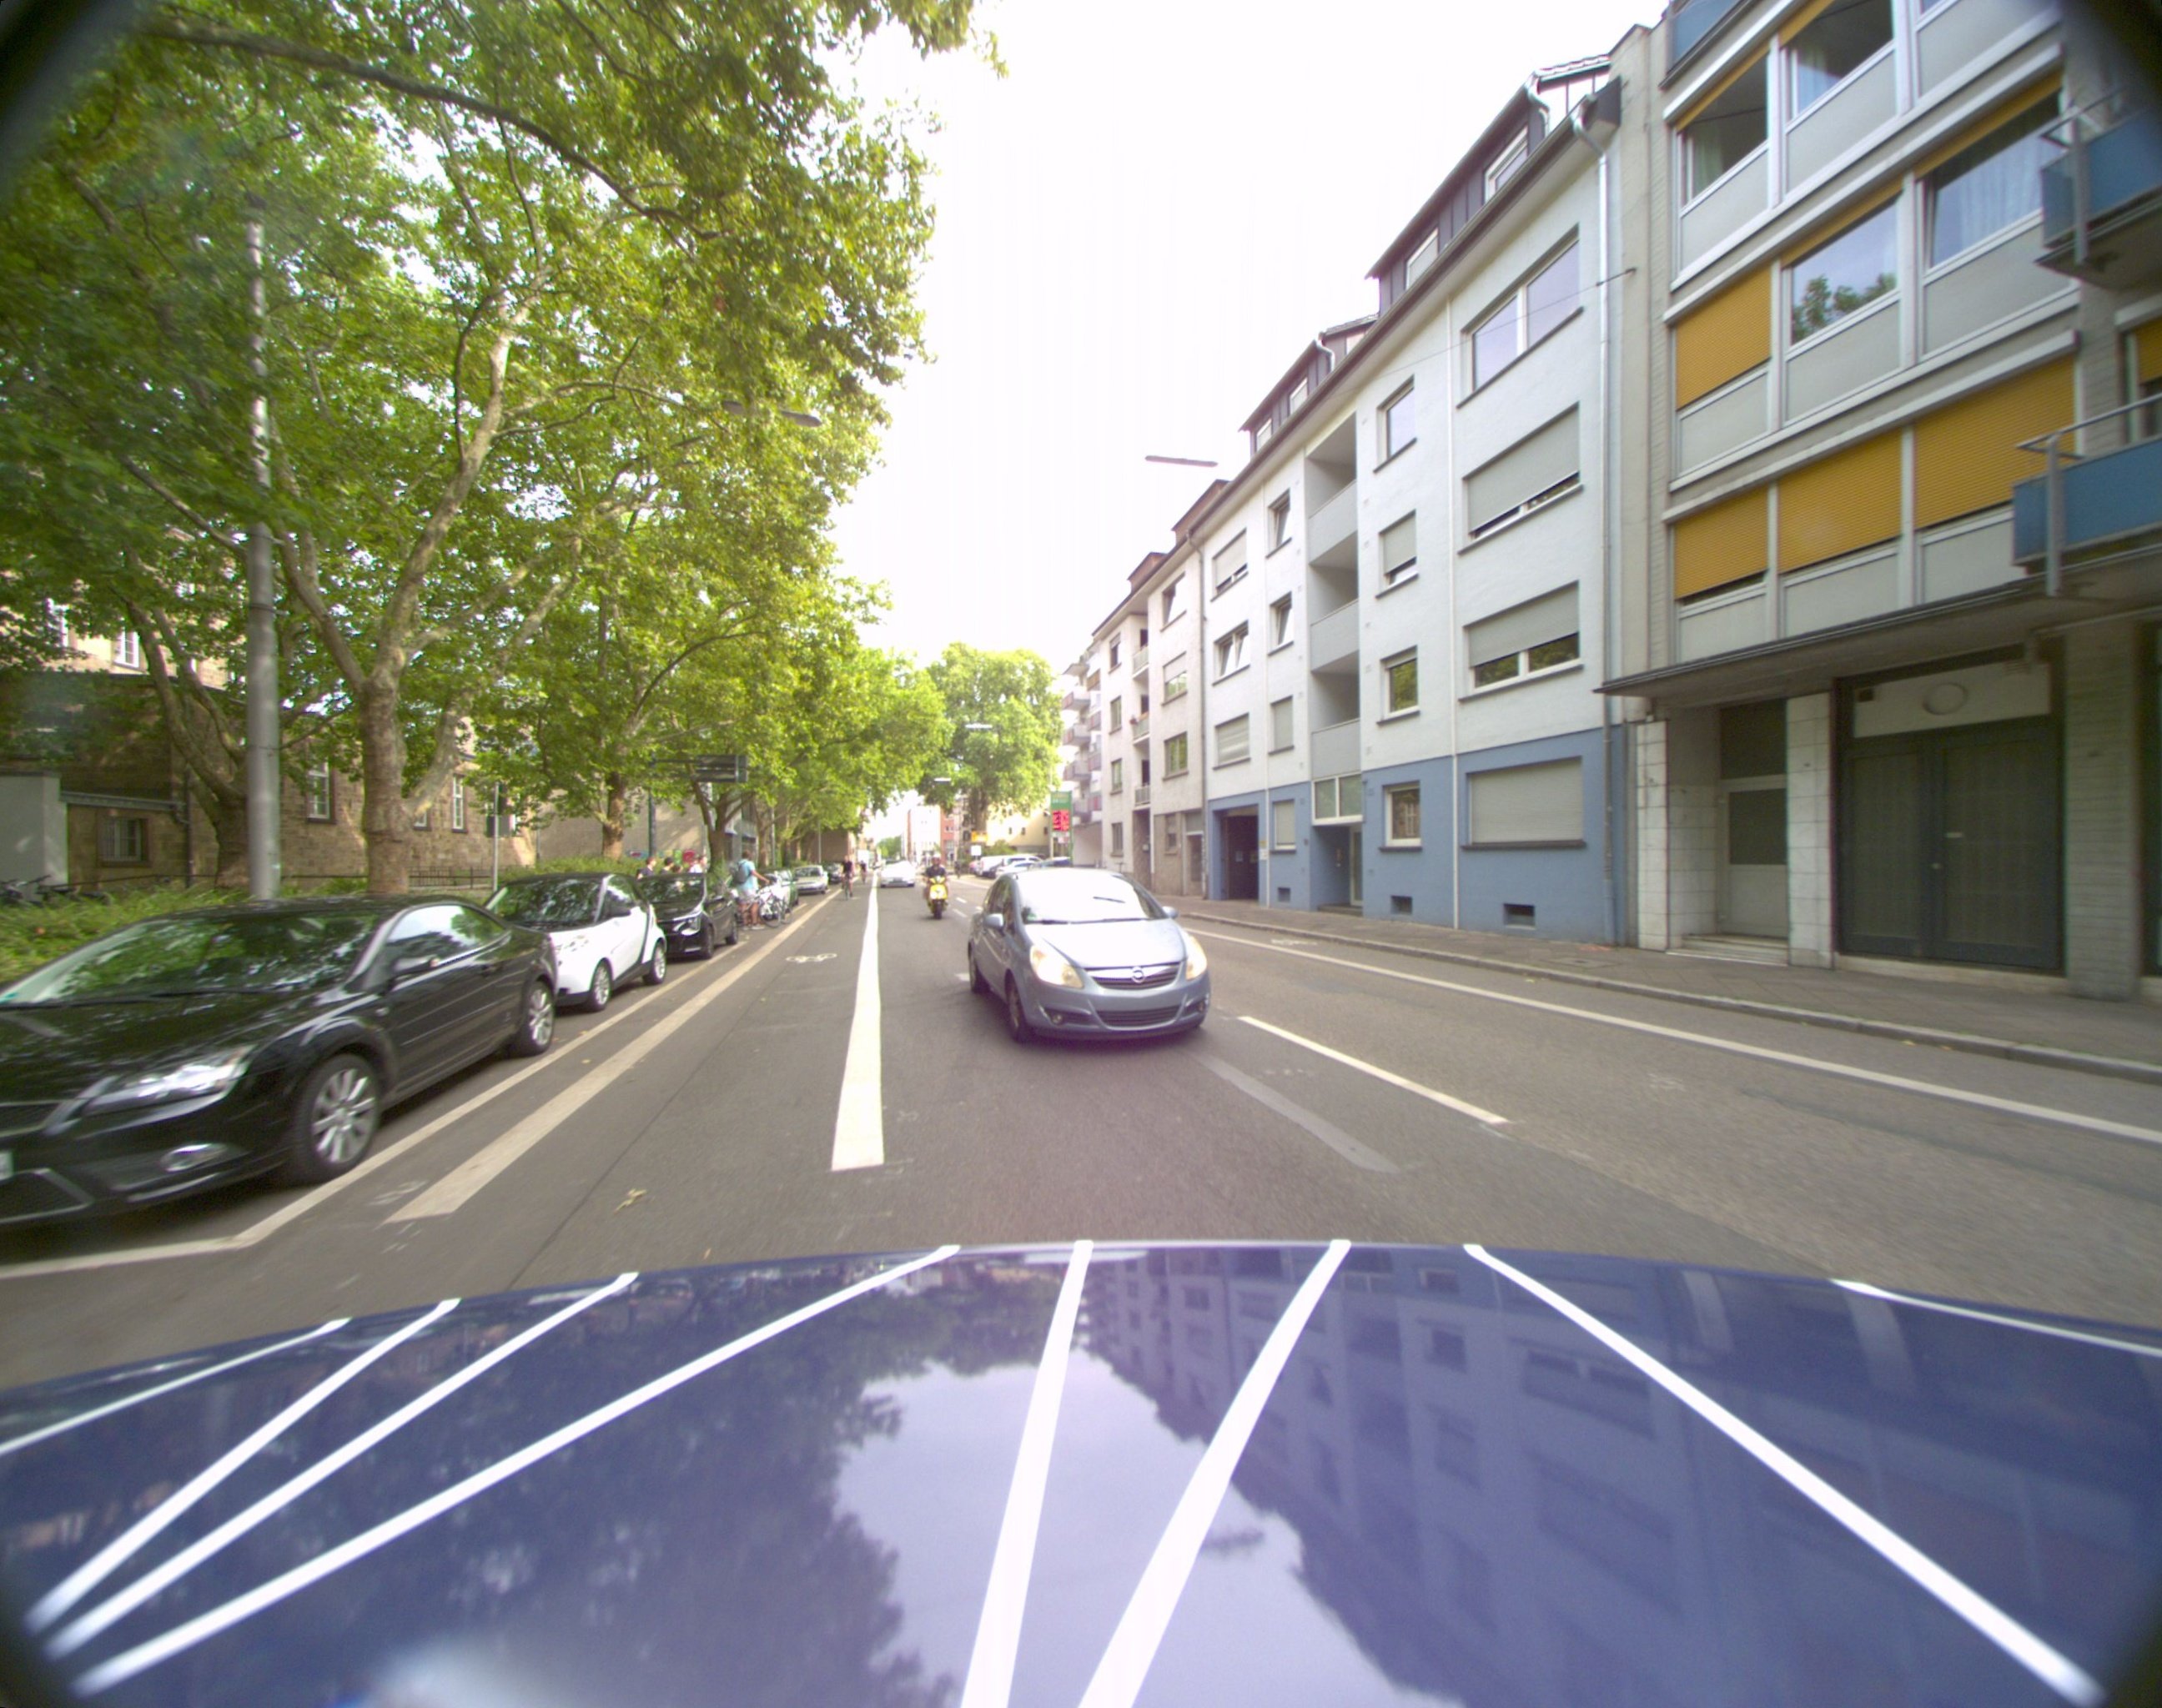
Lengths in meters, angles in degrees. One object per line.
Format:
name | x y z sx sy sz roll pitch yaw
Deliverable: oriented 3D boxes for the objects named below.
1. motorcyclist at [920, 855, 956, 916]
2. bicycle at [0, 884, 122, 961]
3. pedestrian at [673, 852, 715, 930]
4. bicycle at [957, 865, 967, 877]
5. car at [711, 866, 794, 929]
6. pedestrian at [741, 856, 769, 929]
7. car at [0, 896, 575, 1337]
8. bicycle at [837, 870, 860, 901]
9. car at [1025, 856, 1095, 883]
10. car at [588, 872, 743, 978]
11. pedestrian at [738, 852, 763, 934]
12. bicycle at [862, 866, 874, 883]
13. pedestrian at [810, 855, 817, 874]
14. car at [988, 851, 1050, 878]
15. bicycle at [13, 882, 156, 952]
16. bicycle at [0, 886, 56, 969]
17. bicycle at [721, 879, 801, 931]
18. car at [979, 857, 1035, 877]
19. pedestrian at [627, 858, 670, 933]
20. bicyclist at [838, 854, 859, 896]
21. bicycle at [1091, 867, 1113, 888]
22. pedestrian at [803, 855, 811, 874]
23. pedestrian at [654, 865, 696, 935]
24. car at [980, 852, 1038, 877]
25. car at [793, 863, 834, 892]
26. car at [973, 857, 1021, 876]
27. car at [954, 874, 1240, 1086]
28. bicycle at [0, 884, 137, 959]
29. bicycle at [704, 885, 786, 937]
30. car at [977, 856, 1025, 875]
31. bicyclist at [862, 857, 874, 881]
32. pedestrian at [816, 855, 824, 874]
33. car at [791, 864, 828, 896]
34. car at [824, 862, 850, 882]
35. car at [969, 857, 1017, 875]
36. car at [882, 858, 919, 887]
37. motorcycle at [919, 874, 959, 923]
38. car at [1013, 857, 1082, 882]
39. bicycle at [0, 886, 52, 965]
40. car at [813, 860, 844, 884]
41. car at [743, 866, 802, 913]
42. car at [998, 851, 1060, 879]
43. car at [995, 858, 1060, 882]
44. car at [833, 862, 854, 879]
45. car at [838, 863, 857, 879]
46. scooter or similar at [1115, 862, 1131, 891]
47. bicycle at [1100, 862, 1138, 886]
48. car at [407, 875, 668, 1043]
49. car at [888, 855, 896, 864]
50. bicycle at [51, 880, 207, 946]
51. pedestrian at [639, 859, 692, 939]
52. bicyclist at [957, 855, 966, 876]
motorcyclist | -3.939 0.848 20.859 0.906 1.608 0.690 -1 0 -14
bicycle | -15.710 1.030 11.526 1.384 1.111 0.468 0 0 -22
pedestrian | -10.264 0.962 20.168 0.796 1.986 0.749 -2 1 -15
bicycle | -10.575 1.507 67.399 0.648 1.008 2.074 -2 1 -15
car | -9.588 1.189 22.482 1.687 1.507 4.537 -3 1 -17
pedestrian | -8.492 0.979 19.765 0.522 1.834 0.743 -2 1 -30
car | -5.007 1.130 4.864 1.704 1.417 4.415 -2 0 -17
bicycle | -9.586 1.286 31.399 0.764 1.162 1.947 -2 0 -14
car | -1.381 0.983 49.606 4.166 1.504 1.835 -3 1 -14
car | -7.245 1.130 13.625 1.534 1.493 3.655 -2 0 -15
pedestrian | -8.077 0.935 18.559 0.477 1.923 0.743 -2 1 -26
bicycle | -14.779 1.406 52.762 0.764 1.162 1.947 -2 0 -14
pedestrian | -26.020 1.041 73.916 0.503 1.775 0.527 3 0 -16
car | -5.207 0.876 63.179 4.784 1.923 1.991 -3 1 -14
bicycle | -16.775 1.042 12.820 1.451 1.111 0.468 0 0 -18
bicycle | -15.496 1.018 10.356 1.703 1.111 0.621 0 0 -34
bicycle | -8.224 1.287 19.575 1.798 1.210 0.552 -2 1 -32
car | -6.633 1.132 67.868 4.722 1.461 1.872 -3 1 -14
pedestrian | -11.026 1.048 19.393 0.723 1.844 0.702 -2 1 -15
bicyclist | -9.635 0.861 31.506 0.765 1.699 0.916 -2 1 -15
bicycle | 0.989 1.120 36.174 0.599 0.945 1.660 -2 0 -15
pedestrian | -26.592 1.023 73.785 0.644 1.822 0.645 3 0 -16
pedestrian | -9.958 1.110 18.680 0.723 1.648 0.654 -2 1 -15
car | -6.220 0.888 65.459 4.633 1.848 1.947 -3 1 -14
car | -15.119 1.308 43.188 1.761 1.439 4.213 -3 0 -14
car | -8.215 1.195 74.290 4.377 1.540 1.730 -3 1 -14
car | -0.173 0.968 7.763 1.719 1.412 4.247 -1 0 -16
bicycle | -16.047 1.034 11.895 1.546 1.111 0.468 0 0 -22
bicycle | -8.069 1.351 18.283 1.742 1.099 0.551 -2 1 -26
car | -7.607 1.090 72.096 4.281 1.502 1.717 -3 1 -14
bicyclist | -14.781 1.045 52.768 0.749 1.590 0.818 -2 1 -14
pedestrian | -25.342 1.026 73.743 0.593 1.775 0.475 3 0 -16
car | -13.843 1.295 38.830 1.649 1.439 3.876 -3 0 -19
car | -19.796 1.419 61.722 1.646 1.424 4.567 -3 0 -15
car | -8.884 1.197 76.505 4.535 1.596 1.752 -3 1 -14
car | -10.876 1.055 45.542 2.003 1.556 4.545 -1 0 -15
motorcycle | -3.938 1.167 20.856 0.906 1.190 2.627 -1 0 -14
car | -2.283 1.038 51.806 4.316 1.443 1.908 -3 1 -14
bicycle | -15.926 1.028 10.839 1.385 1.111 0.510 0 0 -30
car | -18.744 1.284 56.512 1.928 1.612 4.475 -3 0 -16
car | -11.145 1.237 27.658 1.593 1.441 3.800 -3 1 -17
car | -3.867 0.819 56.537 4.226 1.837 1.922 -3 1 -14
car | -3.781 1.094 53.743 4.287 1.443 1.872 -3 1 -14
car | -22.476 1.544 71.943 1.604 1.496 4.435 -3 0 -15
car | -23.473 1.653 76.361 1.604 1.438 4.099 -3 0 -15
scooter or similar | 1.858 0.987 33.609 0.351 1.214 1.200 -2 0 -15
bicycle | 1.905 0.998 38.006 1.778 1.111 0.452 -2 1 -15
car | -6.177 1.087 8.988 1.541 1.534 2.596 -2 1 -12
car | -54.010 1.692 217.200 2.001 2.546 4.793 -1 0 -14
bicycle | -17.188 1.046 13.767 1.681 1.111 0.603 0 0 -21
pedestrian | -9.781 1.042 17.923 0.874 1.806 0.779 -2 1 -15
bicyclist | -10.561 0.998 67.289 0.654 1.800 1.044 -2 1 -15
